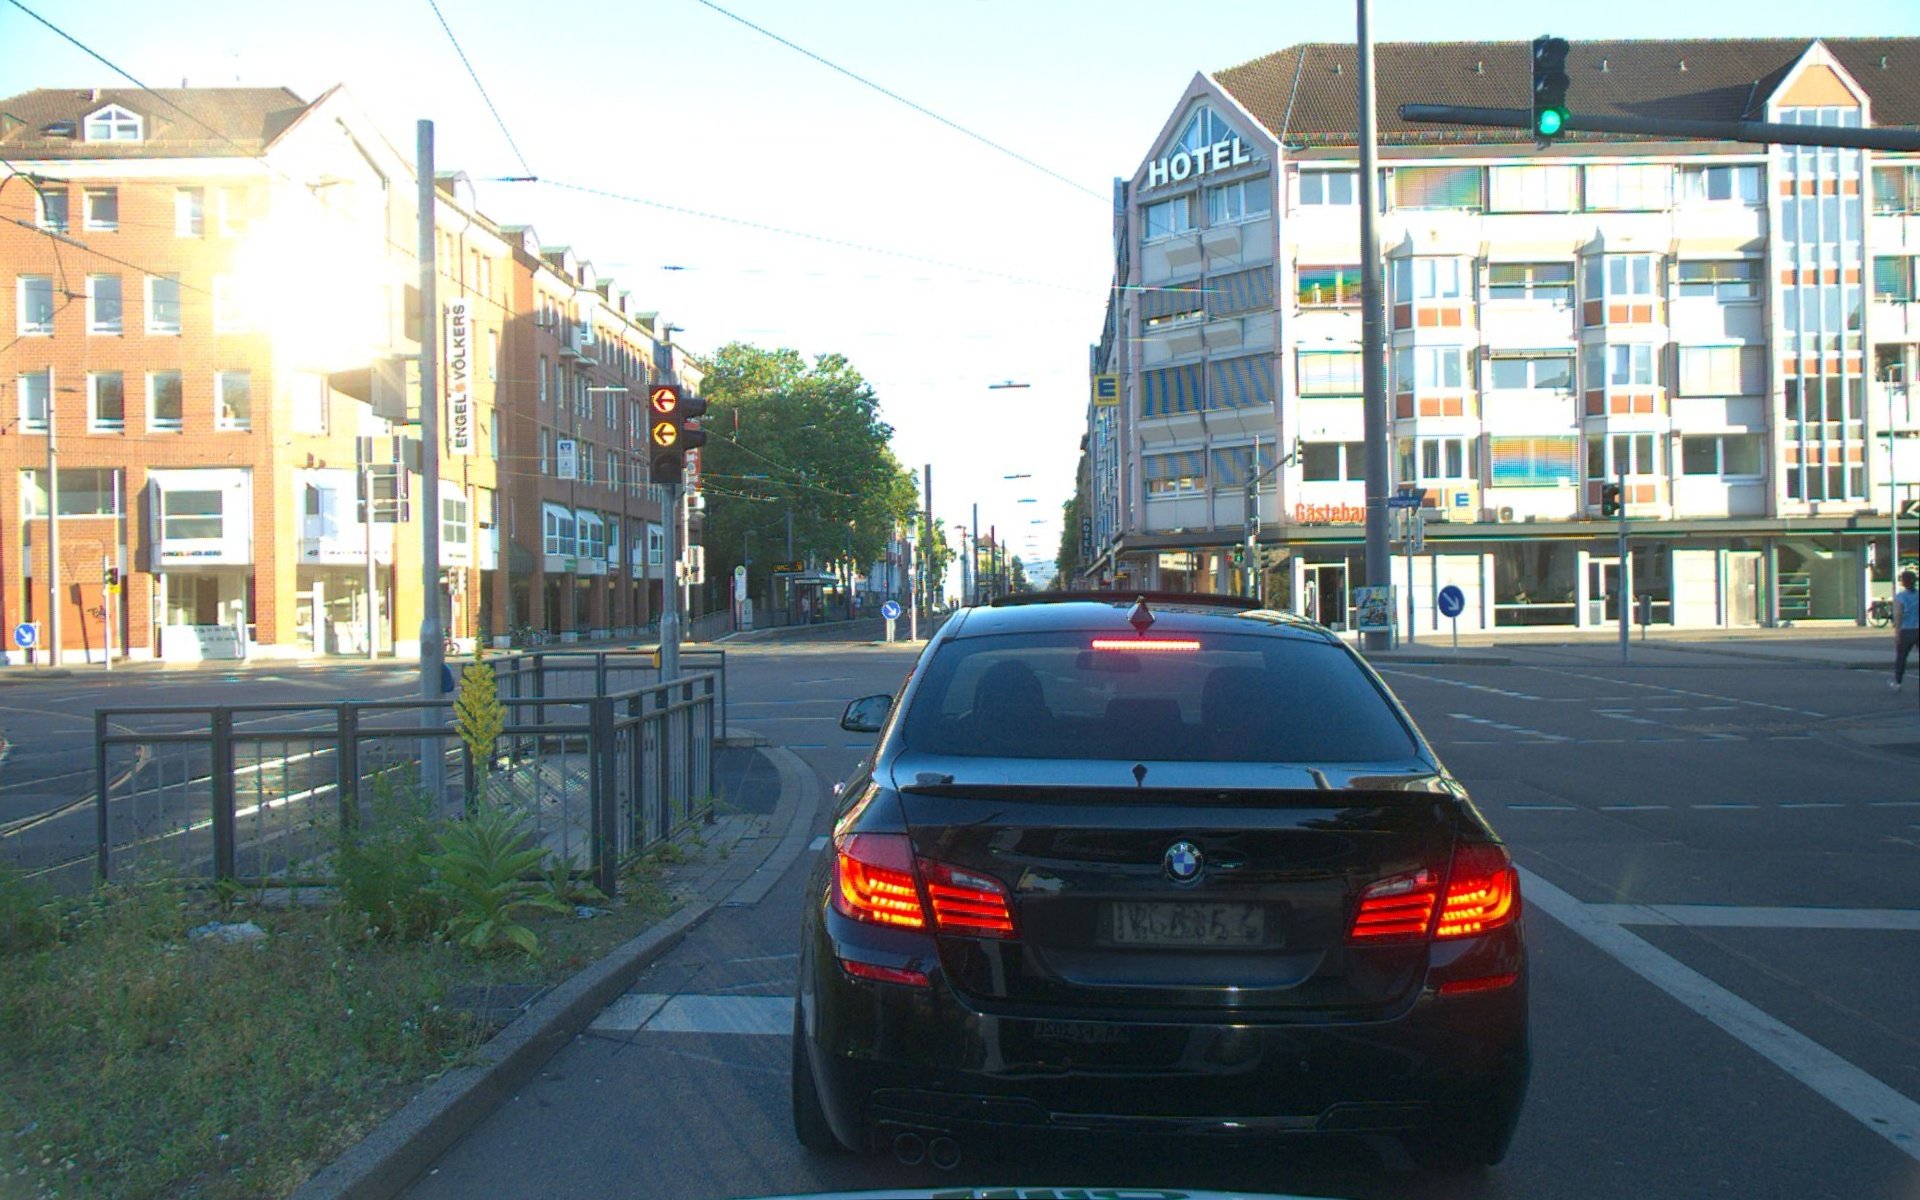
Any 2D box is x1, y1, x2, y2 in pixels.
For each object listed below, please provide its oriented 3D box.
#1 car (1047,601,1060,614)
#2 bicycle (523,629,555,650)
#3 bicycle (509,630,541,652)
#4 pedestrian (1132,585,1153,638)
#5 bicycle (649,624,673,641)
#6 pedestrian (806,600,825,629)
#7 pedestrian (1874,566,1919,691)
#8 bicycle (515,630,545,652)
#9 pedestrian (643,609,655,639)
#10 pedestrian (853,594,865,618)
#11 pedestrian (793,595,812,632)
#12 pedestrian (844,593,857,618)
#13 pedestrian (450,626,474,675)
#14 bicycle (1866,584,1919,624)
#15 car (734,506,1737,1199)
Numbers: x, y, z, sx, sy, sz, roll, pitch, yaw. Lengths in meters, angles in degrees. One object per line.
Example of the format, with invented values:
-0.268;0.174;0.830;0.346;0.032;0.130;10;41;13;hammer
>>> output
10.985;0.877;193.616;1.442;1.541;3.097;-1;0;2;car
-18.774;1.753;73.769;1.388;0.938;0.442;1;0;-13;bicycle
-18.876;1.781;71.789;1.259;0.938;0.349;1;0;-1;bicycle
6.646;0.424;60.191;0.670;1.887;0.671;-1;0;-1;pedestrian
-17.061;1.859;94.390;1.387;0.938;0.402;1;0;-11;bicycle
-8.617;0.868;98.720;0.967;1.710;0.726;-1;0;2;pedestrian
13.118;0.385;22.796;0.670;1.696;0.671;-1;0;6;pedestrian
-18.803;1.782;72.351;1.263;0.938;0.348;1;0;-13;bicycle
-17.459;1.350;92.932;0.476;1.710;0.655;-1;0;7;pedestrian
-7.220;0.452;118.491;0.708;1.710;0.992;-1;0;5;pedestrian
-8.891;0.762;93.575;0.967;2.049;0.726;0;0;2;pedestrian
-7.721;0.385;116.362;0.708;1.710;0.992;-1;0;5;pedestrian
-19.710;1.990;65.484;0.620;1.900;0.677;1;0;29;pedestrian
32.119;0.122;56.048;2.356;1.287;0.823;-1;0;-2;bicycle
0.510;0.630;5.237;1.953;1.612;3.999;1;0;-1;car
